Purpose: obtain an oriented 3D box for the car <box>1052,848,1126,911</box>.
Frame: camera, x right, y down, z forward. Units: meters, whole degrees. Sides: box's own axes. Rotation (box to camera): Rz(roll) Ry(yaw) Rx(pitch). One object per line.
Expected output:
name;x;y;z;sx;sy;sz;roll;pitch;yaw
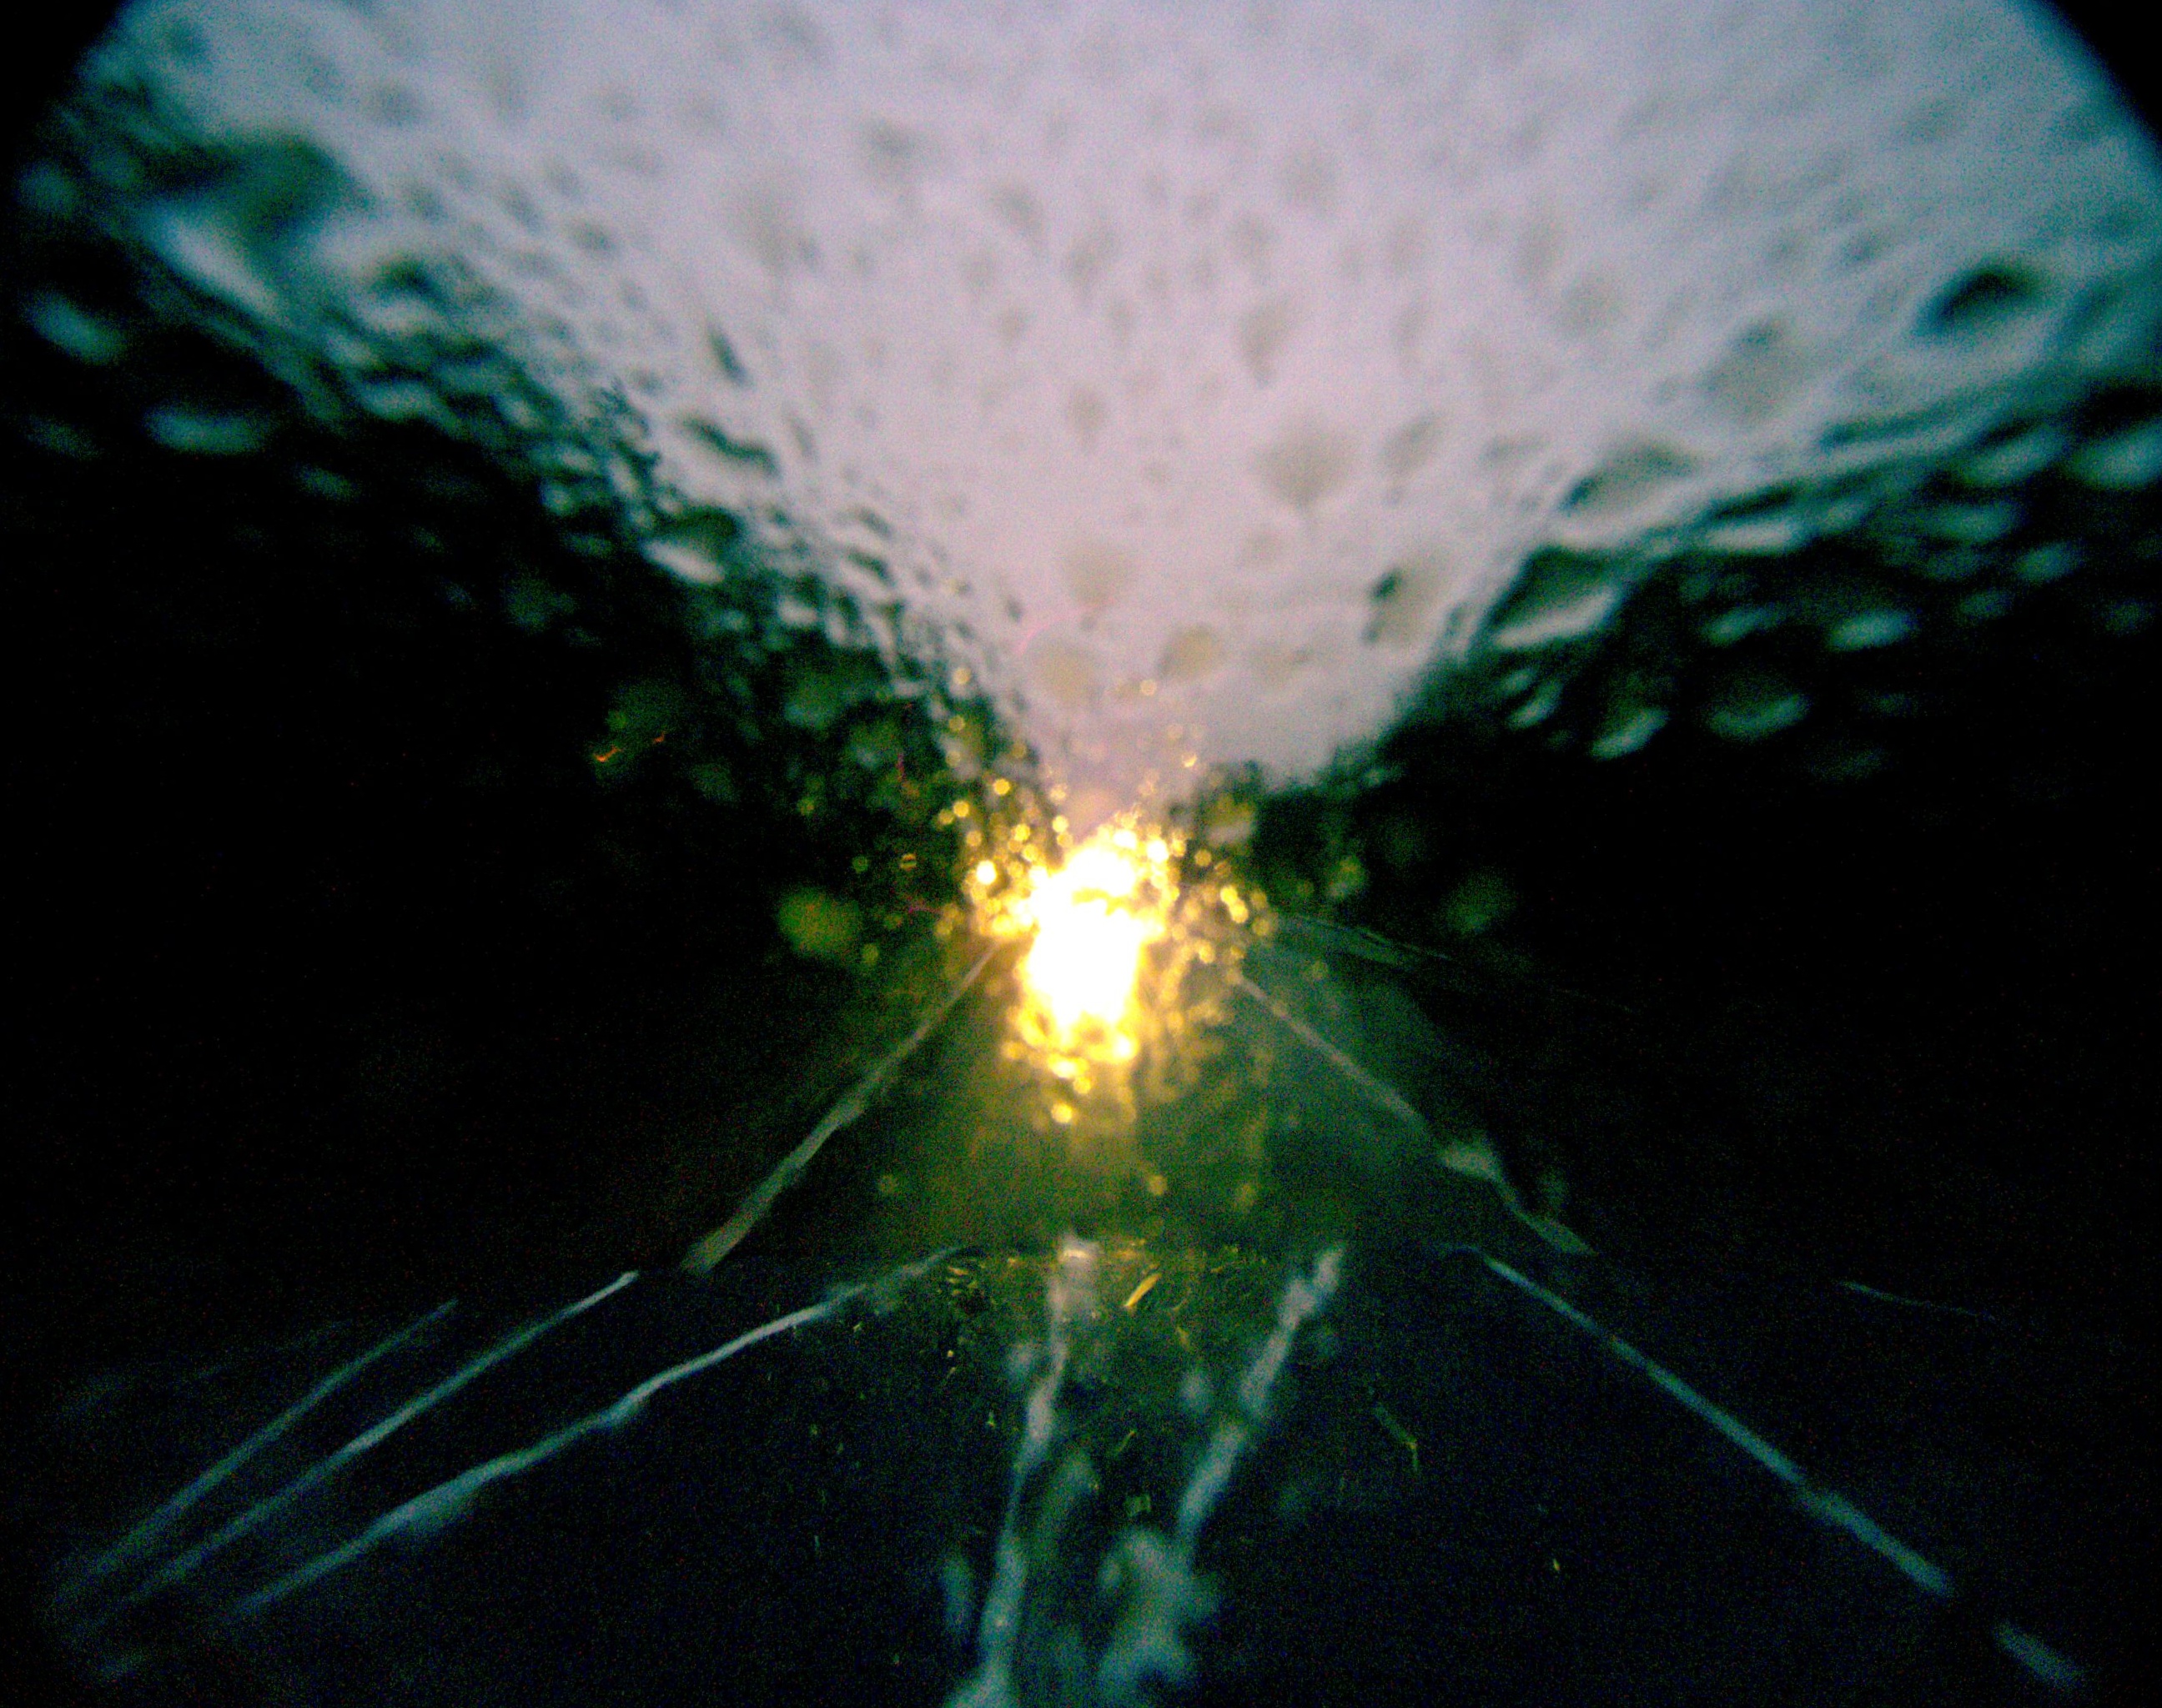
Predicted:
car;0.216;0.731;23.155;1.998;1.672;4.000;-2;0;0
